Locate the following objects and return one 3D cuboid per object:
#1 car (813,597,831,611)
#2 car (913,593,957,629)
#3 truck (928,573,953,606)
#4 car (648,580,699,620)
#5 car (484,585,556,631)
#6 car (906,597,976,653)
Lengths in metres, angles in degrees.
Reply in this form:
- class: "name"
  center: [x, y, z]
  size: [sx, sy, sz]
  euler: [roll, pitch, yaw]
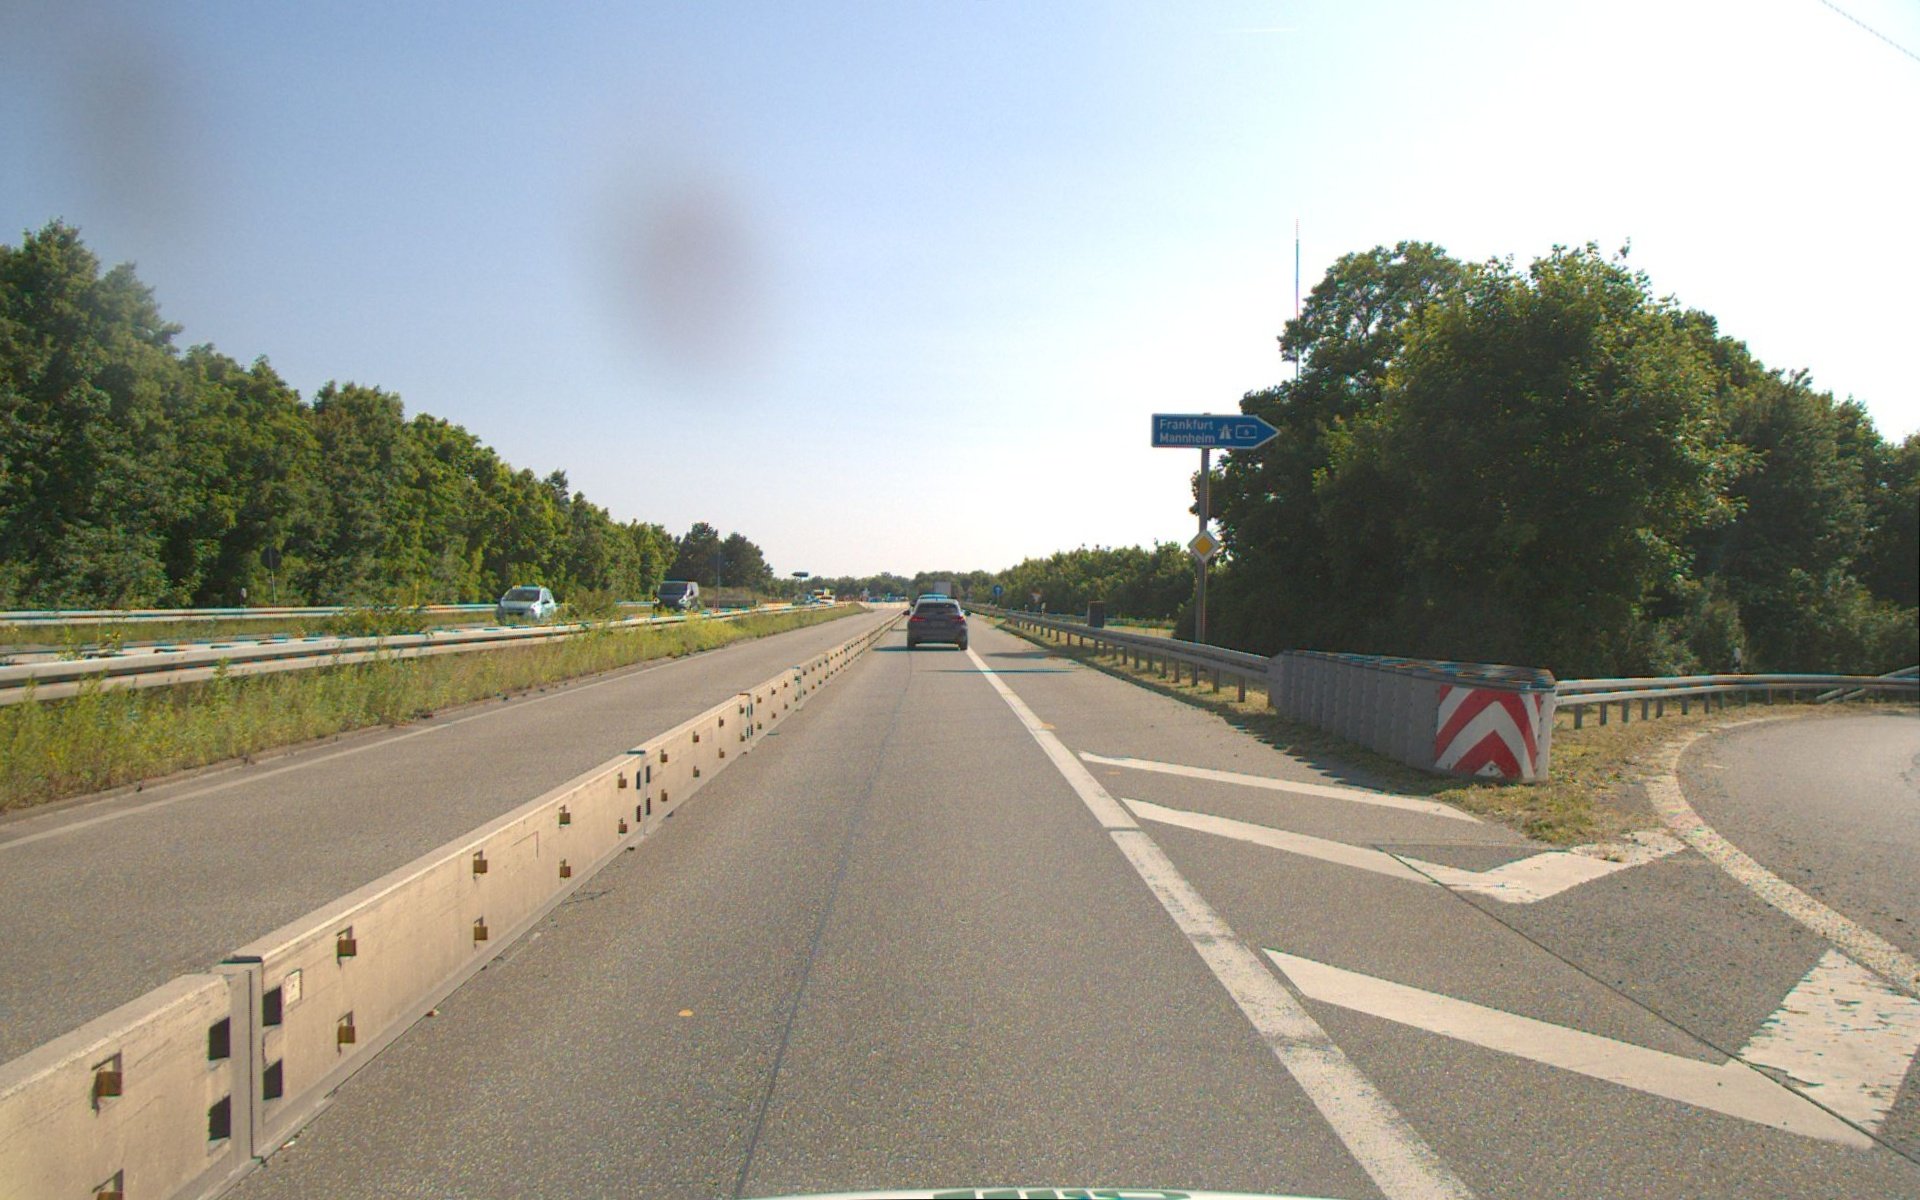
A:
- class: "car"
  center: [-15.452, 0.430, 185.236]
  size: [1.724, 1.496, 4.792]
  euler: [2, 0, -2]
- class: "car"
  center: [-1.153, 0.494, 76.312]
  size: [1.953, 1.594, 3.999]
  euler: [0, 0, -1]
- class: "truck"
  center: [-3.162, -1.697, 261.834]
  size: [3.684, 4.997, 14.133]
  euler: [1, 0, -1]
- class: "car"
  center: [-15.511, -0.018, 89.865]
  size: [1.953, 2.070, 5.167]
  euler: [0, 0, -1]
- class: "car"
  center: [-15.785, 0.290, 59.527]
  size: [1.613, 1.558, 3.817]
  euler: [2, 0, -2]
- class: "car"
  center: [-0.595, 0.705, 48.711]
  size: [1.882, 1.520, 3.998]
  euler: [1, 0, -3]
